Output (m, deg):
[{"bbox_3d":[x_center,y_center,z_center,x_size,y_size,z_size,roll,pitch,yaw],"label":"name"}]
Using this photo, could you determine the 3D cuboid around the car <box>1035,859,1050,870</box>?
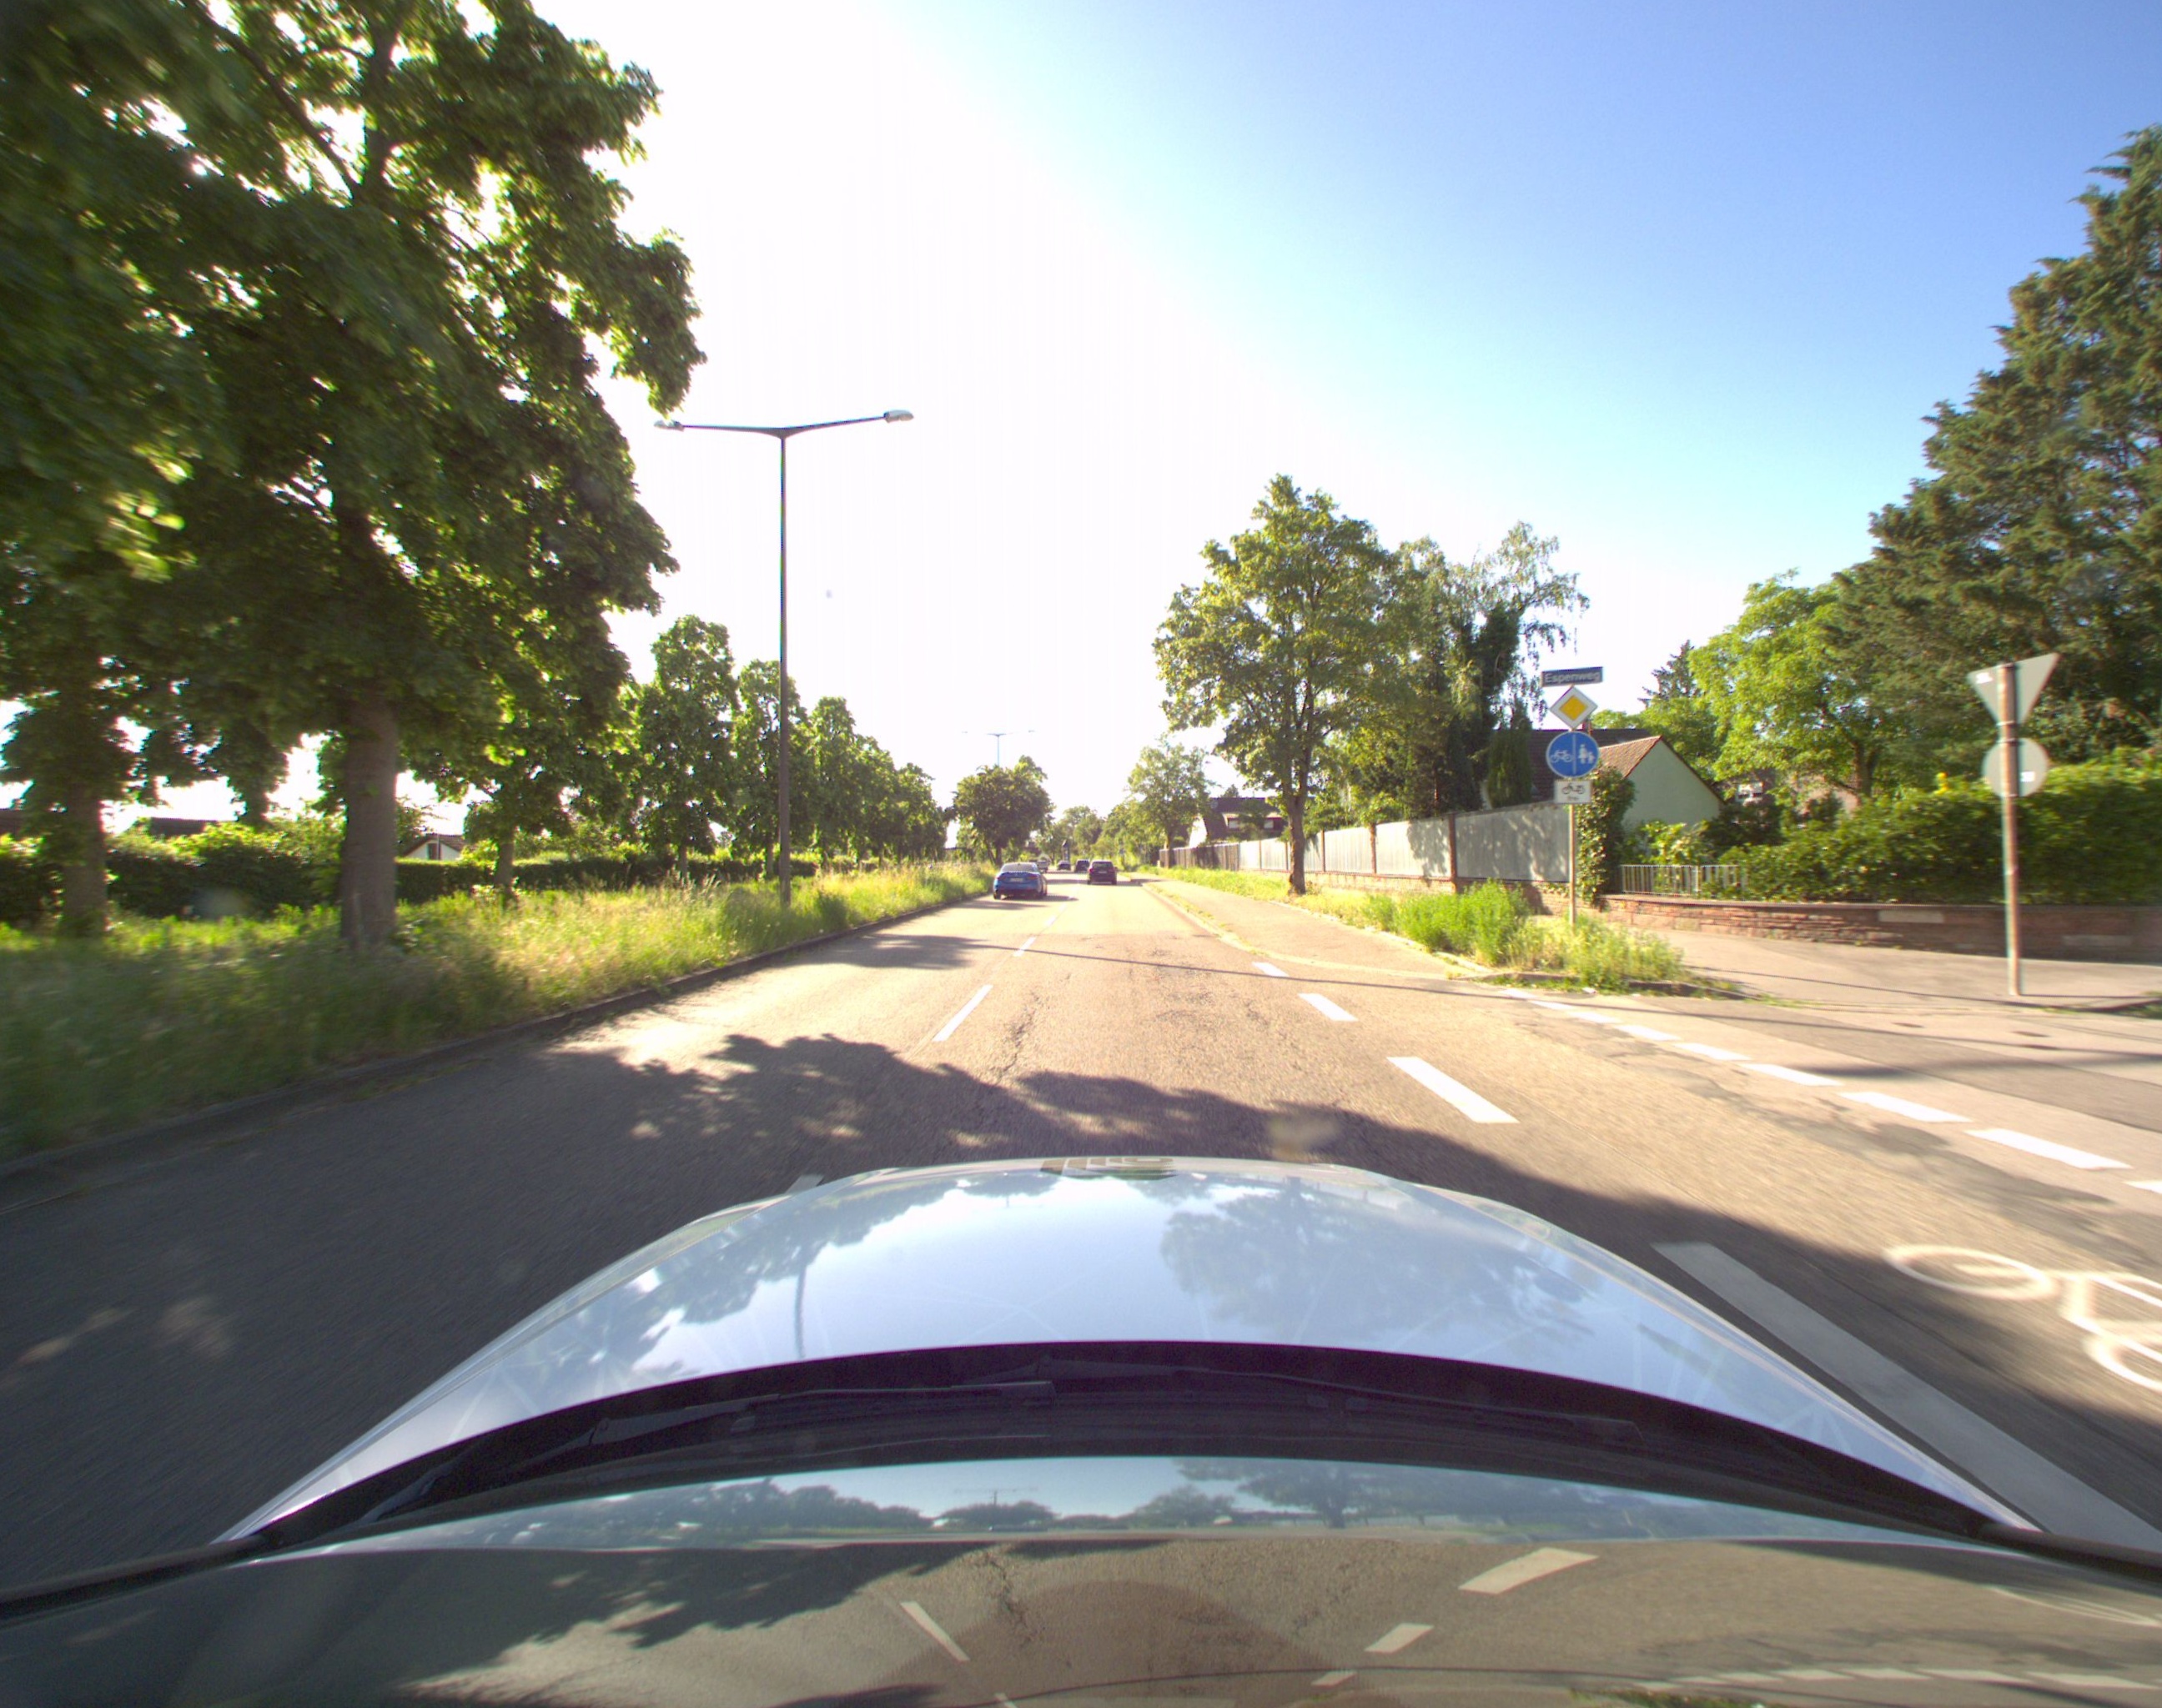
[{"bbox_3d":[-5.524,1.520,116.672,1.909,1.512,4.067,-1,0,0],"label":"car"}]

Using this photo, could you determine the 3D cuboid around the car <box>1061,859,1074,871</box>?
[{"bbox_3d":[-2.024,1.637,120.527,1.911,1.678,4.008,0,-1,-3],"label":"car"}]

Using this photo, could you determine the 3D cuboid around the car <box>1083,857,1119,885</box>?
[{"bbox_3d":[1.133,1.007,49.054,1.910,1.579,4.179,-1,0,-2],"label":"car"}]

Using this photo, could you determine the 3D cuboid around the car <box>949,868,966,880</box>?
[{"bbox_3d":[-16.960,2.691,111.945,1.665,1.467,4.178,-4,0,0],"label":"car"}]

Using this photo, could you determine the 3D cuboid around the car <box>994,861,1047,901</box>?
[{"bbox_3d":[-2.322,1.043,32.230,1.833,1.474,4.183,0,-1,-1],"label":"car"}]

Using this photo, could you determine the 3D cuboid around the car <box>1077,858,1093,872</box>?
[{"bbox_3d":[0.448,1.293,96.035,1.910,1.579,4.180,0,-1,-1],"label":"car"}]
